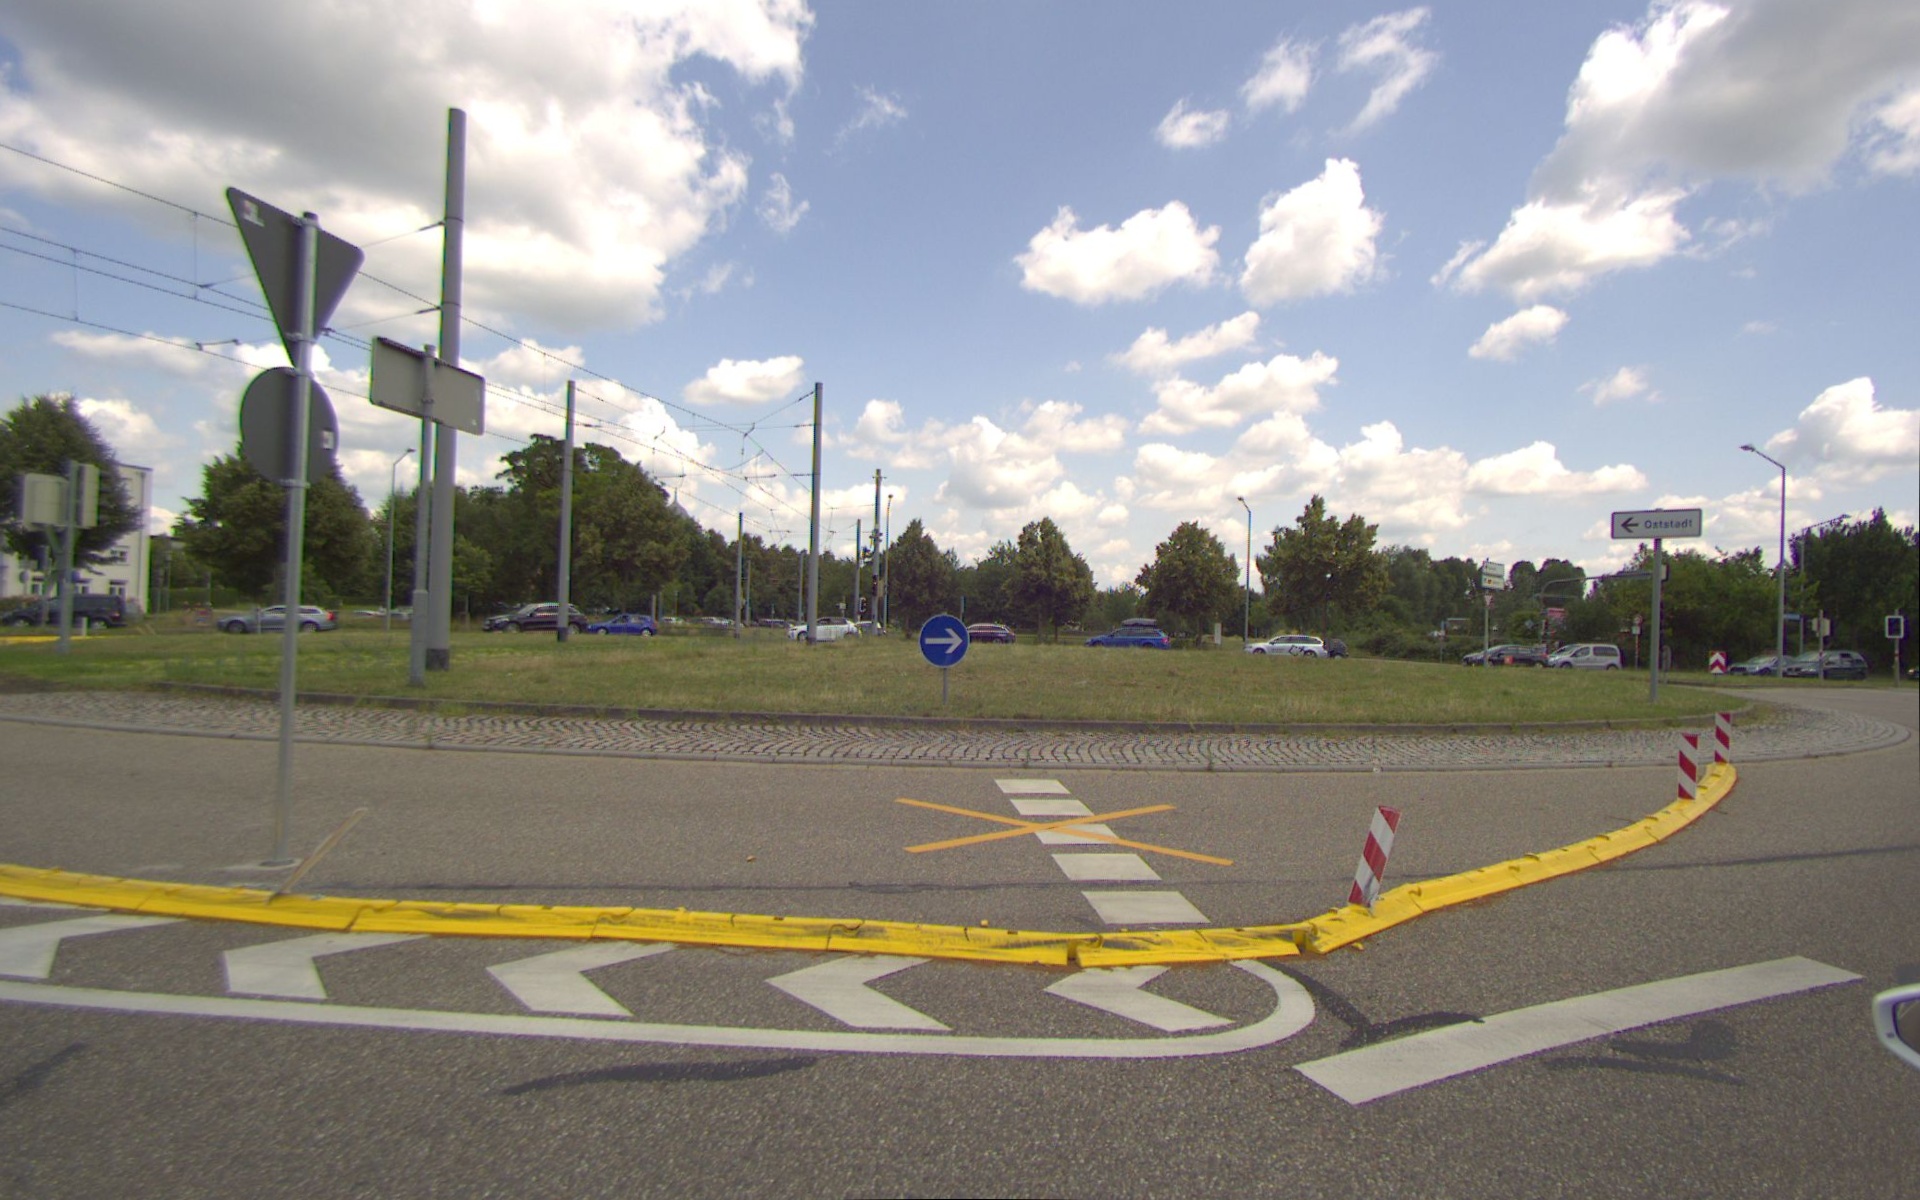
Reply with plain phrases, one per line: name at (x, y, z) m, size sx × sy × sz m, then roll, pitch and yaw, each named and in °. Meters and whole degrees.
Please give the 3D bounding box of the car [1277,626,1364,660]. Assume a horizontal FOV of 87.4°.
car at (21.191, 2.505, 59.237) m, size 4.568 × 1.845 × 2.127 m, roll 1°, pitch -1°, yaw 15°

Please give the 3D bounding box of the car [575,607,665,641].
car at (-19.764, 1.388, 58.452) m, size 4.667 × 1.815 × 1.835 m, roll 2°, pitch -1°, yaw -28°

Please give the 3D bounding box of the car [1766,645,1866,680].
car at (44.265, 3.220, 51.968) m, size 4.521 × 1.613 × 1.906 m, roll 3°, pitch -2°, yaw -19°

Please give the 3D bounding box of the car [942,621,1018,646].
car at (1.234, 2.006, 60.536) m, size 4.400 × 1.340 × 1.955 m, roll 2°, pitch -1°, yaw 6°

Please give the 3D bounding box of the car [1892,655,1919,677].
car at (62.450, 4.309, 64.835) m, size 4.106 × 1.365 × 1.615 m, roll 3°, pitch -3°, yaw -19°

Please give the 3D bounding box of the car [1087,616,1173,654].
car at (9.006, 1.832, 53.257) m, size 4.319 × 1.822 × 1.757 m, roll 1°, pitch -1°, yaw 15°

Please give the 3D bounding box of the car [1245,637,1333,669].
car at (18.036, 2.874, 55.238) m, size 4.416 × 1.542 × 2.125 m, roll 1°, pitch -1°, yaw 15°

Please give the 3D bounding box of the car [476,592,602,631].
car at (-19.666, 0.558, 47.078) m, size 5.038 × 1.697 × 1.973 m, roll 2°, pitch -1°, yaw -45°

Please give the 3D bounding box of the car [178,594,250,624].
car at (-53.574, 0.655, 72.199) m, size 1.960 × 2.040 × 4.002 m, roll 2°, pitch -1°, yaw 4°

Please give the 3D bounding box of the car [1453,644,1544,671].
car at (28.839, 3.061, 53.894) m, size 3.898 × 1.358 × 1.804 m, roll 1°, pitch -3°, yaw 11°

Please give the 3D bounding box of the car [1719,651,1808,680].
car at (44.282, 3.622, 55.350) m, size 4.126 × 1.442 × 1.904 m, roll 2°, pitch -1°, yaw -19°

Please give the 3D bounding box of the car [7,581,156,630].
car at (-40.111, 0.279, 45.998) m, size 4.653 × 2.040 × 1.991 m, roll 2°, pitch -1°, yaw -20°

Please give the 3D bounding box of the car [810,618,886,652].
car at (-7.110, 2.214, 64.170) m, size 4.635 × 2.040 × 1.999 m, roll 2°, pitch -1°, yaw -3°

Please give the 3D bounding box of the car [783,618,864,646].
car at (-7.442, 1.725, 54.736) m, size 4.234 × 1.347 × 1.997 m, roll 2°, pitch -1°, yaw -10°

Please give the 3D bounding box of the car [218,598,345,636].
car at (-32.885, 0.848, 48.889) m, size 4.882 × 1.648 × 2.051 m, roll 2°, pitch 1°, yaw -28°

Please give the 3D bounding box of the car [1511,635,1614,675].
car at (34.255, 3.097, 57.185) m, size 4.694 × 2.040 × 2.000 m, roll 2°, pitch -1°, yaw -1°
